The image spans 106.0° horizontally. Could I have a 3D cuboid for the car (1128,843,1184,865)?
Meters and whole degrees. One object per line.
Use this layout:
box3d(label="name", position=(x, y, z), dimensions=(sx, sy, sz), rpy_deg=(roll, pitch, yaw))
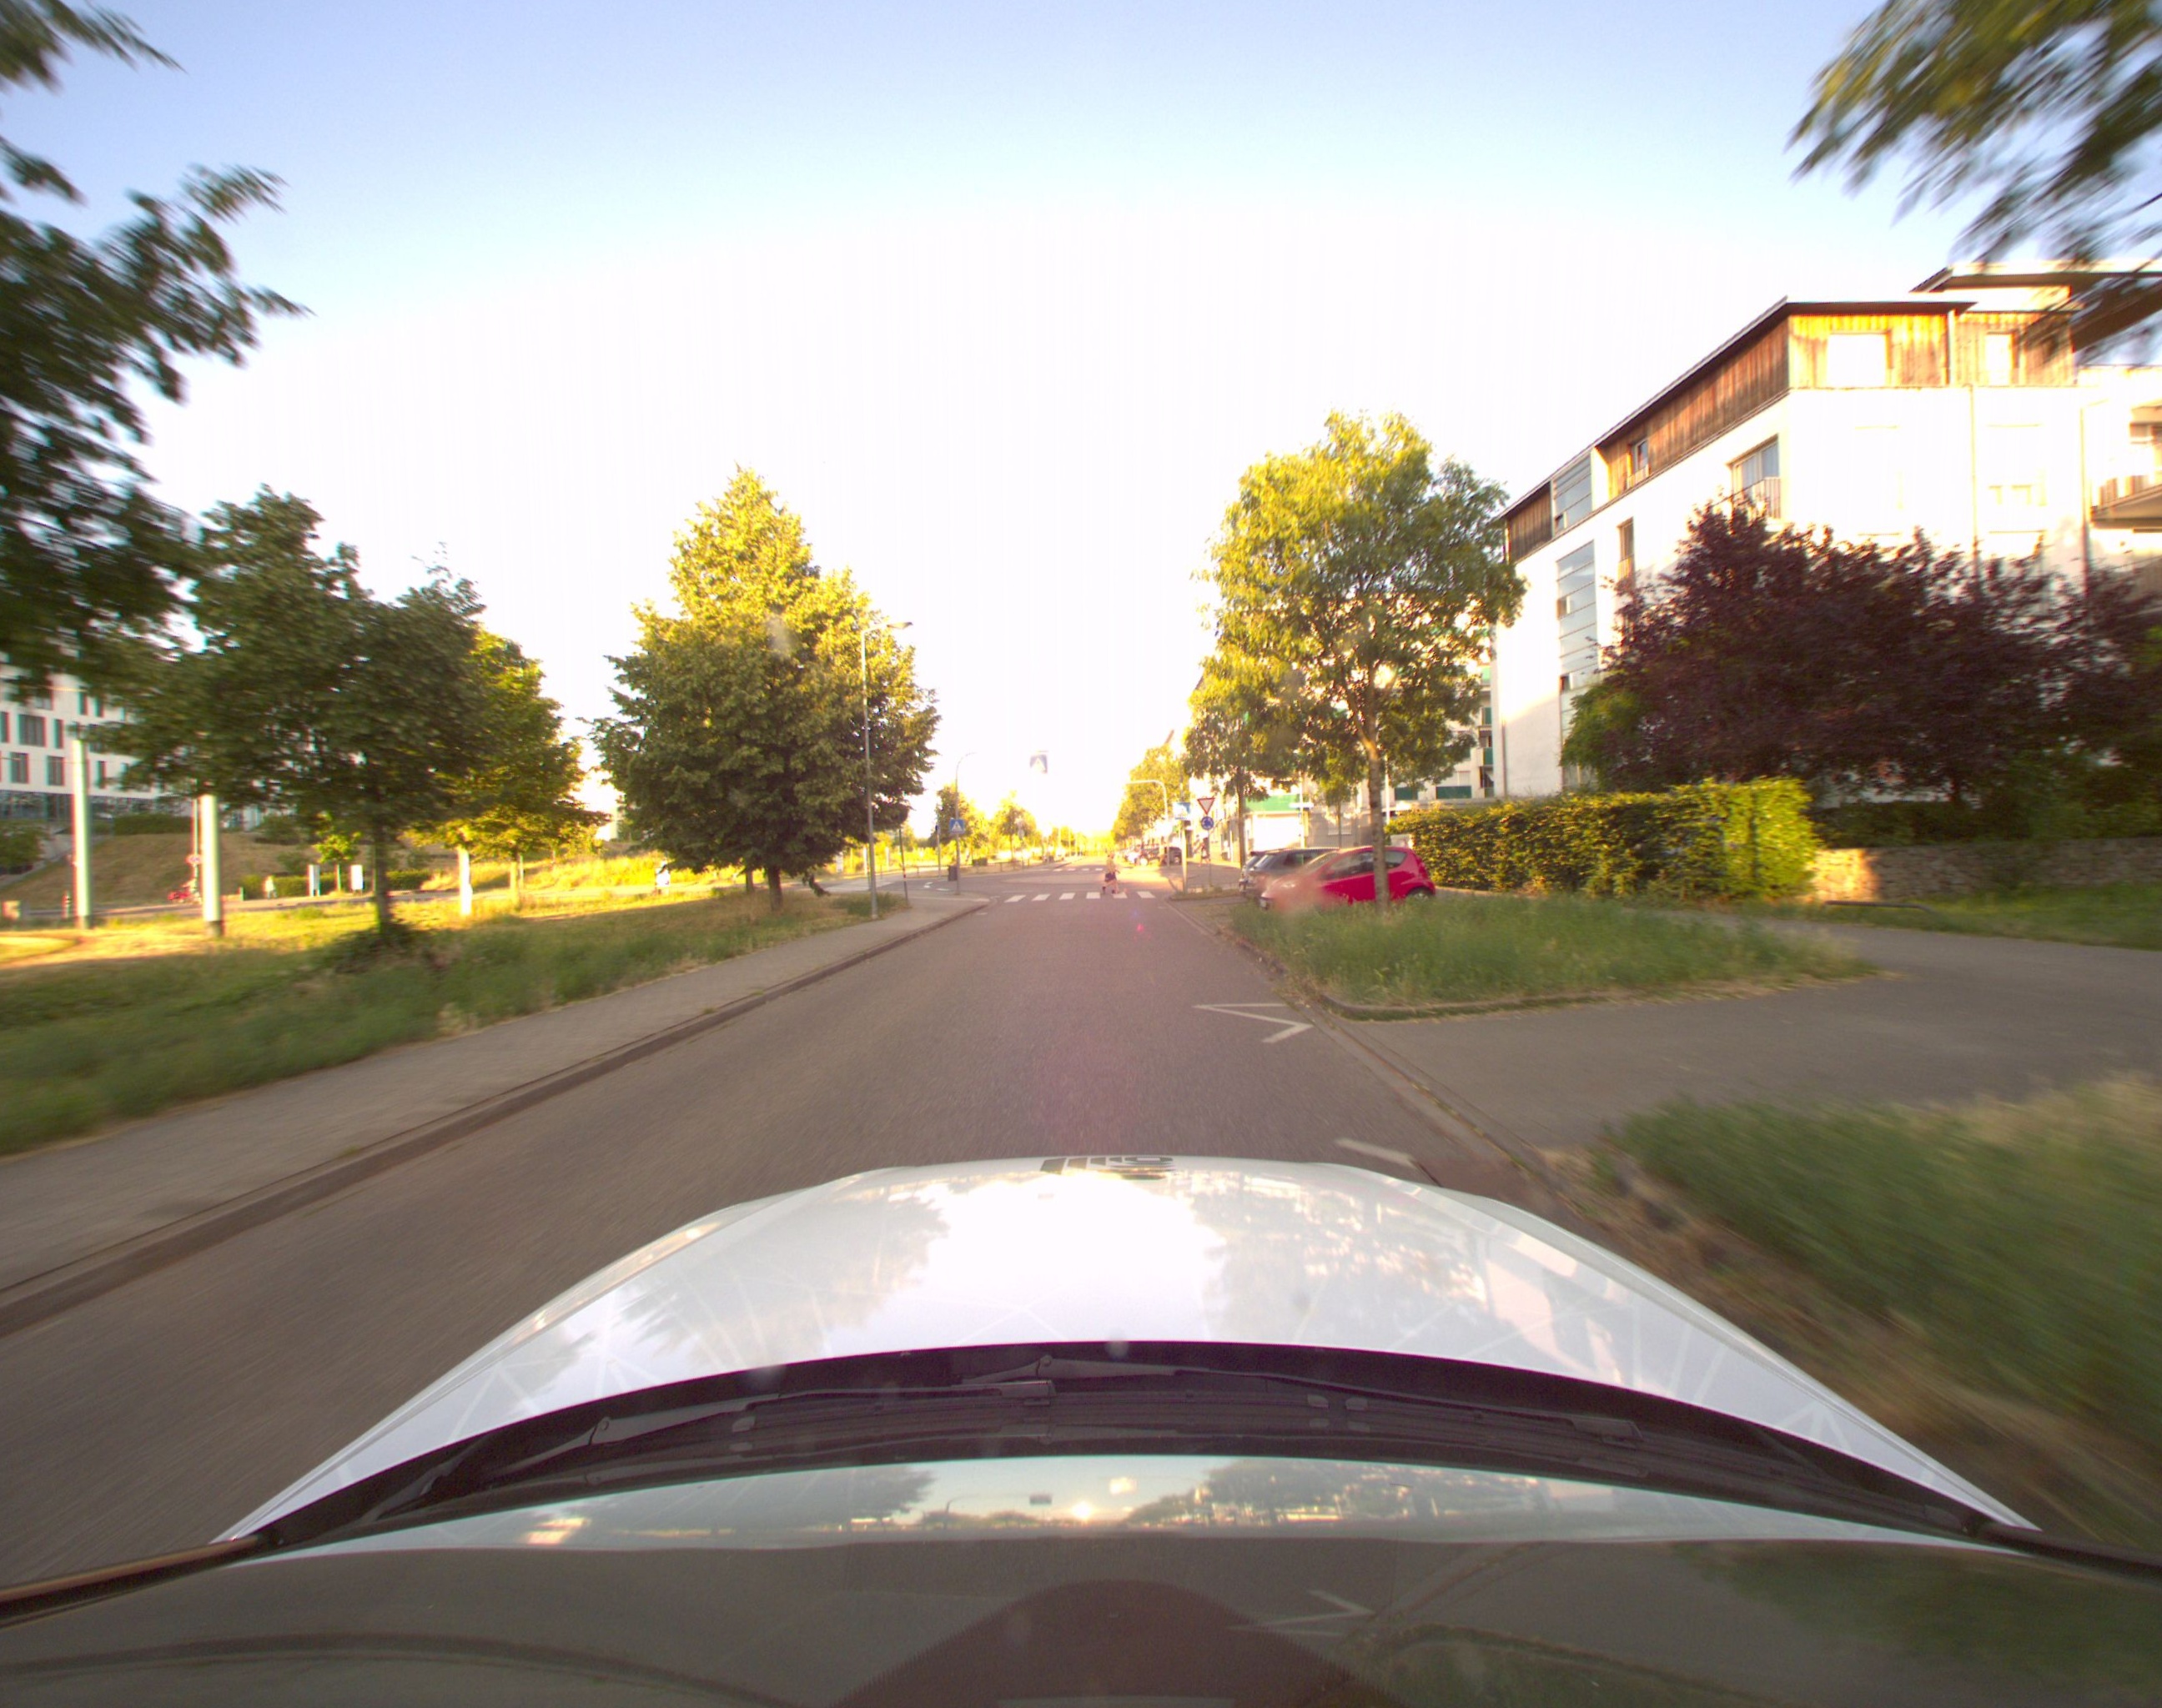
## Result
box3d(label="car", position=(6.176, -0.017, 67.265), dimensions=(4.467, 1.596, 2.001), rpy_deg=(-2, 0, 2))

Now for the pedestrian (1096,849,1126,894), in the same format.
box3d(label="pedestrian", position=(1.153, 0.668, 31.707), dimensions=(1.018, 1.693, 0.757), rpy_deg=(-1, 0, -10))

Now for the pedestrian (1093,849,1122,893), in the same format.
box3d(label="pedestrian", position=(1.052, 0.673, 32.396), dimensions=(0.983, 1.693, 0.697), rpy_deg=(-2, 0, -10))

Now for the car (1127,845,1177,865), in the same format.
box3d(label="car", position=(6.300, 0.069, 72.445), dimensions=(4.338, 1.596, 2.001), rpy_deg=(-2, 0, 2))

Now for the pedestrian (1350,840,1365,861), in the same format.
box3d(label="pedestrian", position=(17.781, -0.224, 52.351), dimensions=(0.655, 1.355, 0.802), rpy_deg=(-2, 0, -2))

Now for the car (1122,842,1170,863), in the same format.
box3d(label="car", position=(7.188, -0.185, 90.457), dimensions=(4.992, 2.045, 2.248), rpy_deg=(-2, 0, -3))

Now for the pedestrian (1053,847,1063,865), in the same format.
box3d(label="pedestrian", position=(-2.548, 0.237, 90.392), dimensions=(0.866, 2.013, 0.787), rpy_deg=(-2, 0, -9))

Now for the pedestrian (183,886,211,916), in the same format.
box3d(label="pedestrian", position=(-54.460, 2.877, 50.155), dimensions=(0.783, 1.786, 0.815), rpy_deg=(-2, 0, 4))

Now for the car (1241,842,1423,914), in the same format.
box3d(label="car", position=(5.877, 0.547, 19.388), dimensions=(3.791, 1.508, 1.678), rpy_deg=(-2, 0, -1))

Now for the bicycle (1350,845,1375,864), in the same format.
box3d(label="bicycle", position=(17.801, 0.005, 51.578), dimensions=(0.694, 1.151, 2.459), rpy_deg=(-2, 0, -1))

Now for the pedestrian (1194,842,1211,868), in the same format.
box3d(label="pedestrian", position=(8.421, 0.083, 56.605), dimensions=(1.002, 1.788, 0.761), rpy_deg=(-1, 0, -5))

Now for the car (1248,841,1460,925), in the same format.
box3d(label="car", position=(5.562, 0.573, 16.897), dimensions=(3.791, 1.508, 1.678), rpy_deg=(-2, 0, -1))

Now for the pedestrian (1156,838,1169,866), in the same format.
box3d(label="pedestrian", position=(6.089, -0.165, 60.617), dimensions=(0.842, 2.013, 0.945), rpy_deg=(-2, 0, 7))

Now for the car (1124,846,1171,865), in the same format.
box3d(label="car", position=(6.129, 0.137, 75.183), dimensions=(4.247, 1.596, 2.001), rpy_deg=(-2, 0, 2))

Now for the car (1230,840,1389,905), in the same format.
box3d(label="car", position=(6.108, 0.473, 22.036), dimensions=(3.790, 1.508, 1.679), rpy_deg=(-3, 1, 0))

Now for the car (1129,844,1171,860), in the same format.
box3d(label="car", position=(7.368, -0.241, 87.397), dimensions=(4.249, 1.596, 2.000), rpy_deg=(-2, 0, 0))
